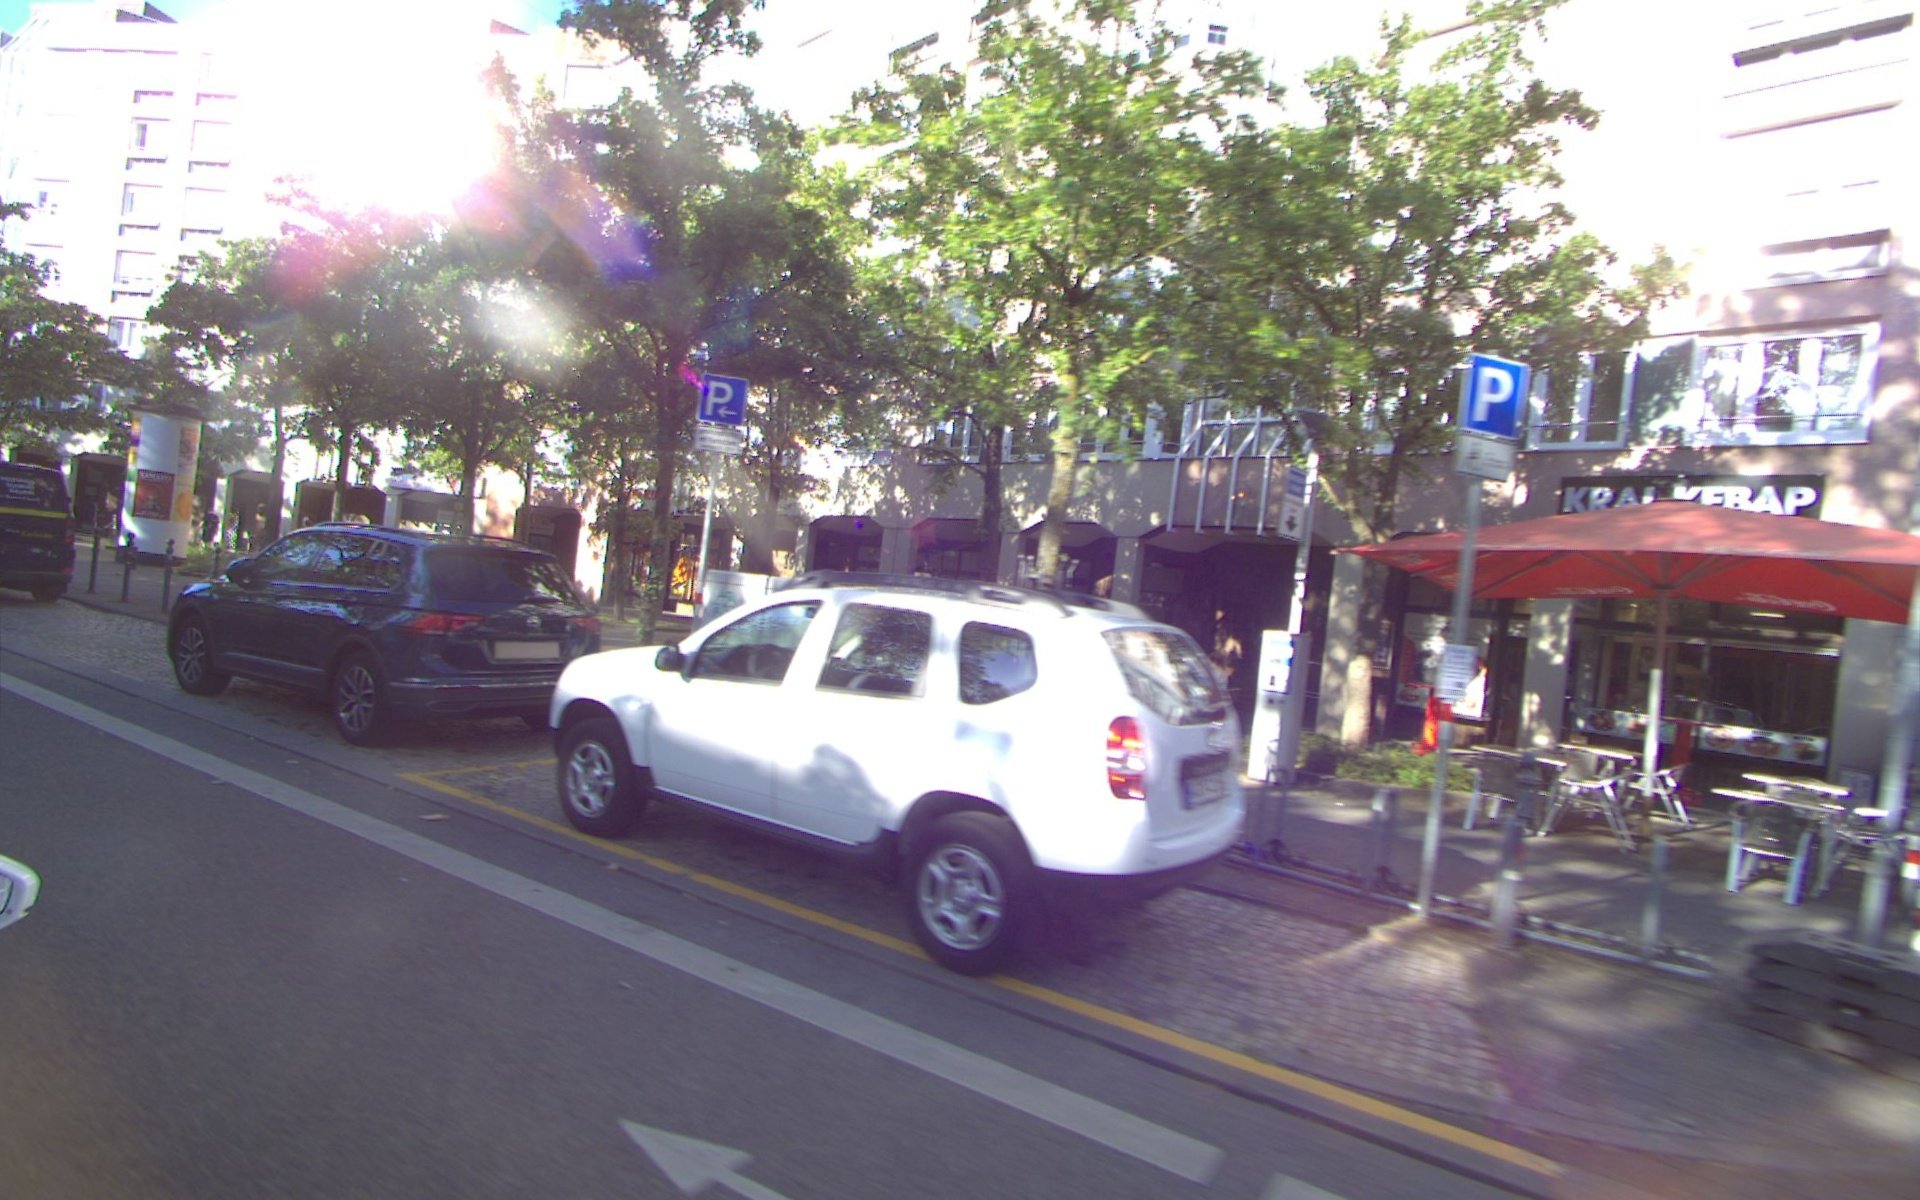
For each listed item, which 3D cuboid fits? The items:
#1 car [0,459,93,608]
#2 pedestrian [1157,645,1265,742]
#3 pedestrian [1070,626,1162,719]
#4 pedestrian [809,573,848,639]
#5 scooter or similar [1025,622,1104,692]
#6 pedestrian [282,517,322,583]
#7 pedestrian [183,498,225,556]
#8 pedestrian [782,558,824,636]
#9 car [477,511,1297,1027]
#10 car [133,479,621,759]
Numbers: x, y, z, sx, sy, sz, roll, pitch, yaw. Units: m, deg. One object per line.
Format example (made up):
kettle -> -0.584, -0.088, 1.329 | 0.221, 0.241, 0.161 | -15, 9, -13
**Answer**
car -> -15.135, -1.177, 14.798 | 5.111, 1.969, 2.039 | 7, 2, 31
pedestrian -> 3.652, 1.355, 14.638 | 1.108, 1.227, 0.884 | 7, 0, 42
pedestrian -> 2.400, 1.110, 15.446 | 0.953, 1.265, 0.929 | 7, 0, 36
pedestrian -> -3.995, 0.173, 30.487 | 0.717, 1.895, 0.887 | 7, 0, -27
scooter or similar -> 2.161, 1.178, 20.870 | 1.343, 1.270, 0.665 | 7, 0, 40
pedestrian -> -21.294, -1.625, 32.548 | 0.763, 2.005, 0.640 | 7, 0, 34
pedestrian -> -28.594, -2.761, 38.054 | 0.833, 2.005, 0.818 | 7, 0, 25
pedestrian -> -4.836, -0.098, 30.969 | 0.720, 2.275, 0.796 | 7, 0, -38
car -> -0.621, 0.587, 5.777 | 4.388, 1.747, 1.798 | 7, 2, 34
car -> -5.220, 0.031, 8.787 | 4.500, 1.747, 1.798 | 7, 2, 34
